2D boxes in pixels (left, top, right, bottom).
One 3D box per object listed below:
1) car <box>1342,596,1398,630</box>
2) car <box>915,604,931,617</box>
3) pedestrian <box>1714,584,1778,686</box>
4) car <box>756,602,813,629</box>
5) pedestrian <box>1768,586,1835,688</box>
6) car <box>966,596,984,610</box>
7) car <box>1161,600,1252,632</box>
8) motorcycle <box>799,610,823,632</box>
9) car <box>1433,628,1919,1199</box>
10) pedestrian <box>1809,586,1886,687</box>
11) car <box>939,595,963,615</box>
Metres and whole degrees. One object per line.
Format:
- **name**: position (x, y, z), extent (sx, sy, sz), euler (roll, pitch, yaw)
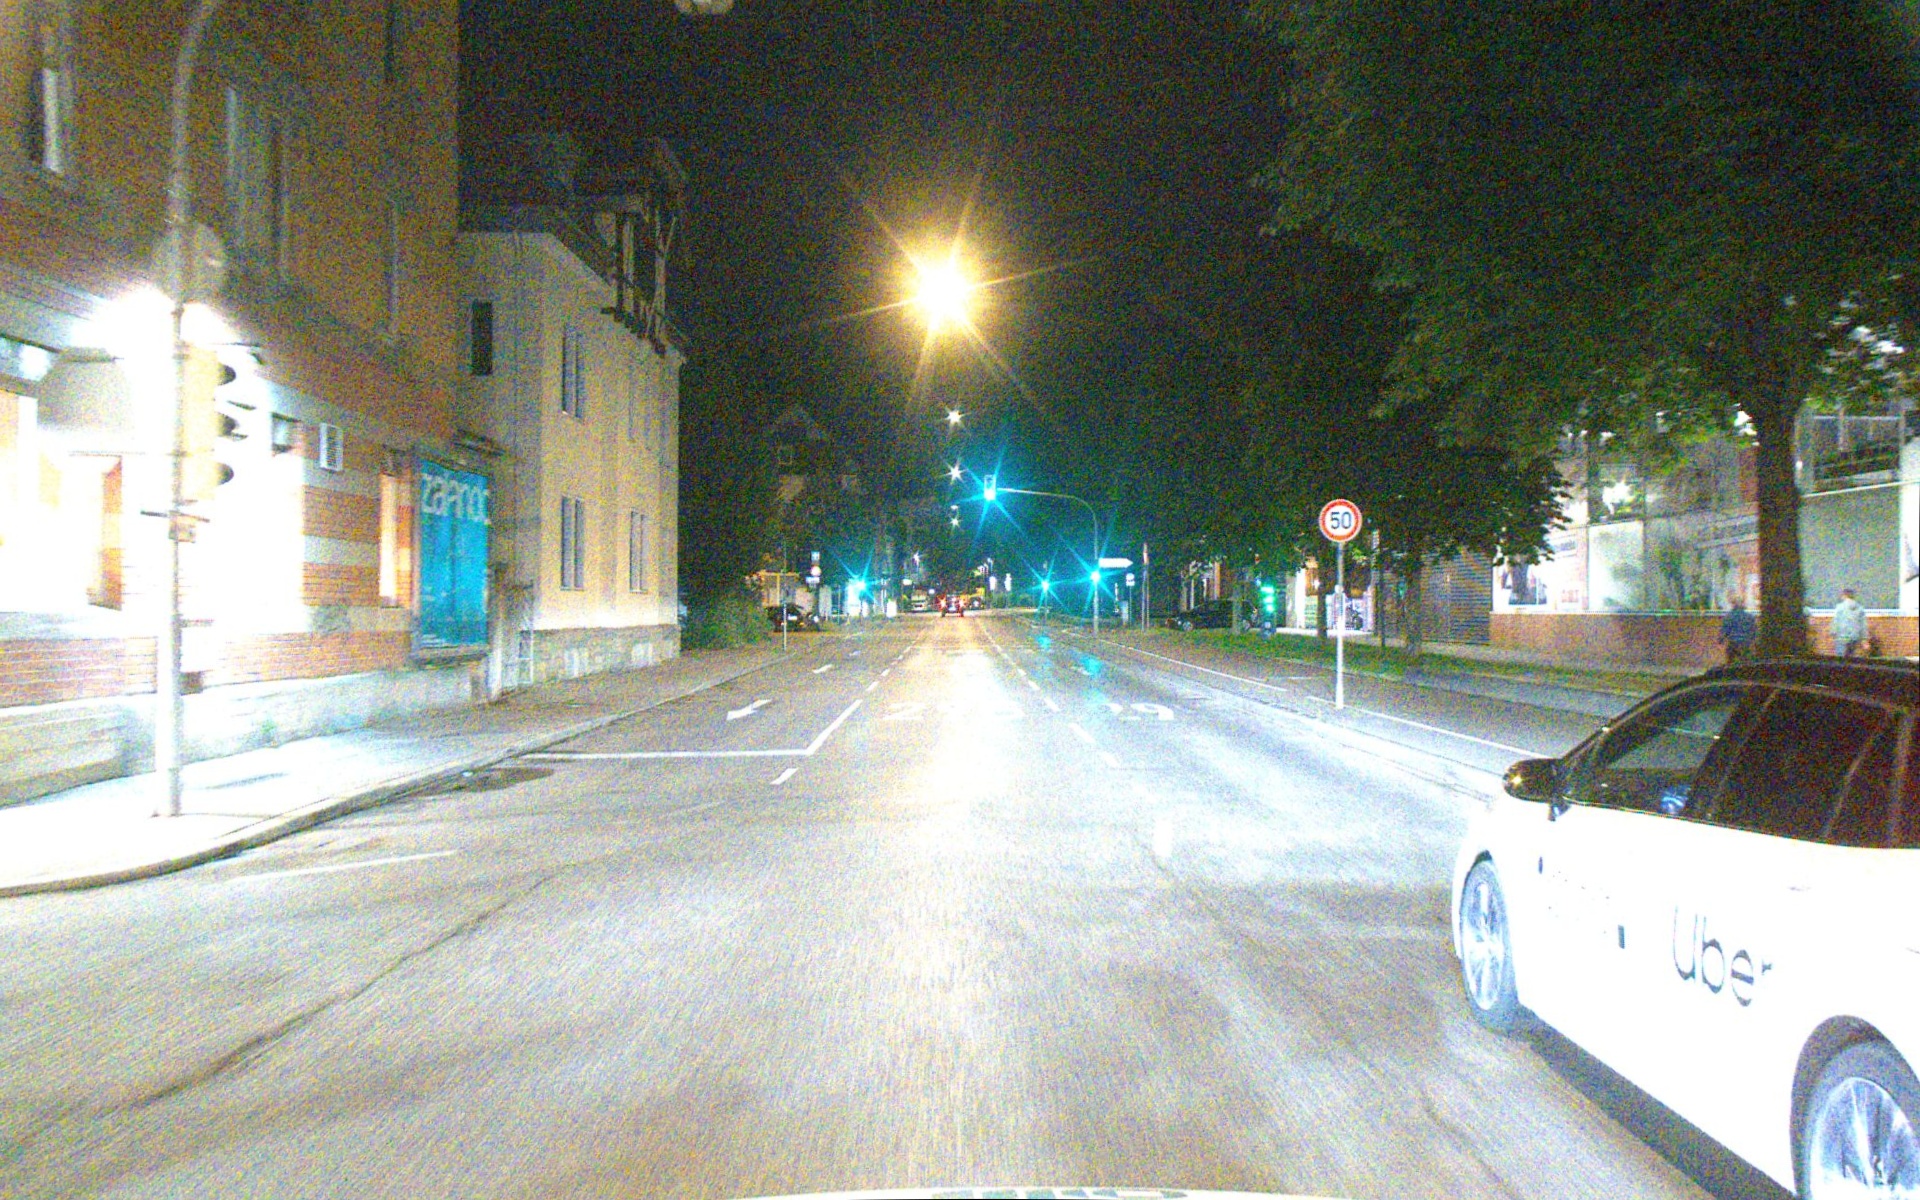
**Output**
- **car**: position (18.966, 0.570, 76.660), extent (1.541, 1.513, 3.830), euler (-1, 0, -1)
- **car**: position (-4.201, 1.140, 187.801), extent (1.742, 1.414, 3.998), euler (-1, 0, -2)
- **pedestrian**: position (14.209, 0.621, 29.925), extent (0.699, 1.800, 0.907), euler (-1, 0, -1)
- **car**: position (-10.252, 0.909, 96.502), extent (1.786, 1.512, 3.956), euler (-1, 0, -32)
- **pedestrian**: position (15.172, 0.656, 29.840), extent (0.723, 1.800, 0.907), euler (-1, 0, -1)
- **car**: position (1.845, 0.397, 202.295), extent (1.954, 1.624, 3.998), euler (-1, 0, -3)
- **car**: position (11.174, 0.722, 75.186), extent (3.904, 1.411, 1.772), euler (-1, 0, 2)
- **motorcycle**: position (-8.454, 1.159, 93.682), extent (0.769, 1.225, 2.436), euler (-1, 0, -19)
- **car**: position (2.789, 0.855, 4.583), extent (1.694, 1.460, 4.210), euler (2, 0, -1)
- **pedestrian**: position (16.200, 0.660, 30.200), extent (0.882, 1.800, 0.907), euler (-1, 0, -1)
- **car**: position (-0.751, 0.465, 140.775), extent (1.953, 1.669, 3.998), euler (0, -1, -2)
